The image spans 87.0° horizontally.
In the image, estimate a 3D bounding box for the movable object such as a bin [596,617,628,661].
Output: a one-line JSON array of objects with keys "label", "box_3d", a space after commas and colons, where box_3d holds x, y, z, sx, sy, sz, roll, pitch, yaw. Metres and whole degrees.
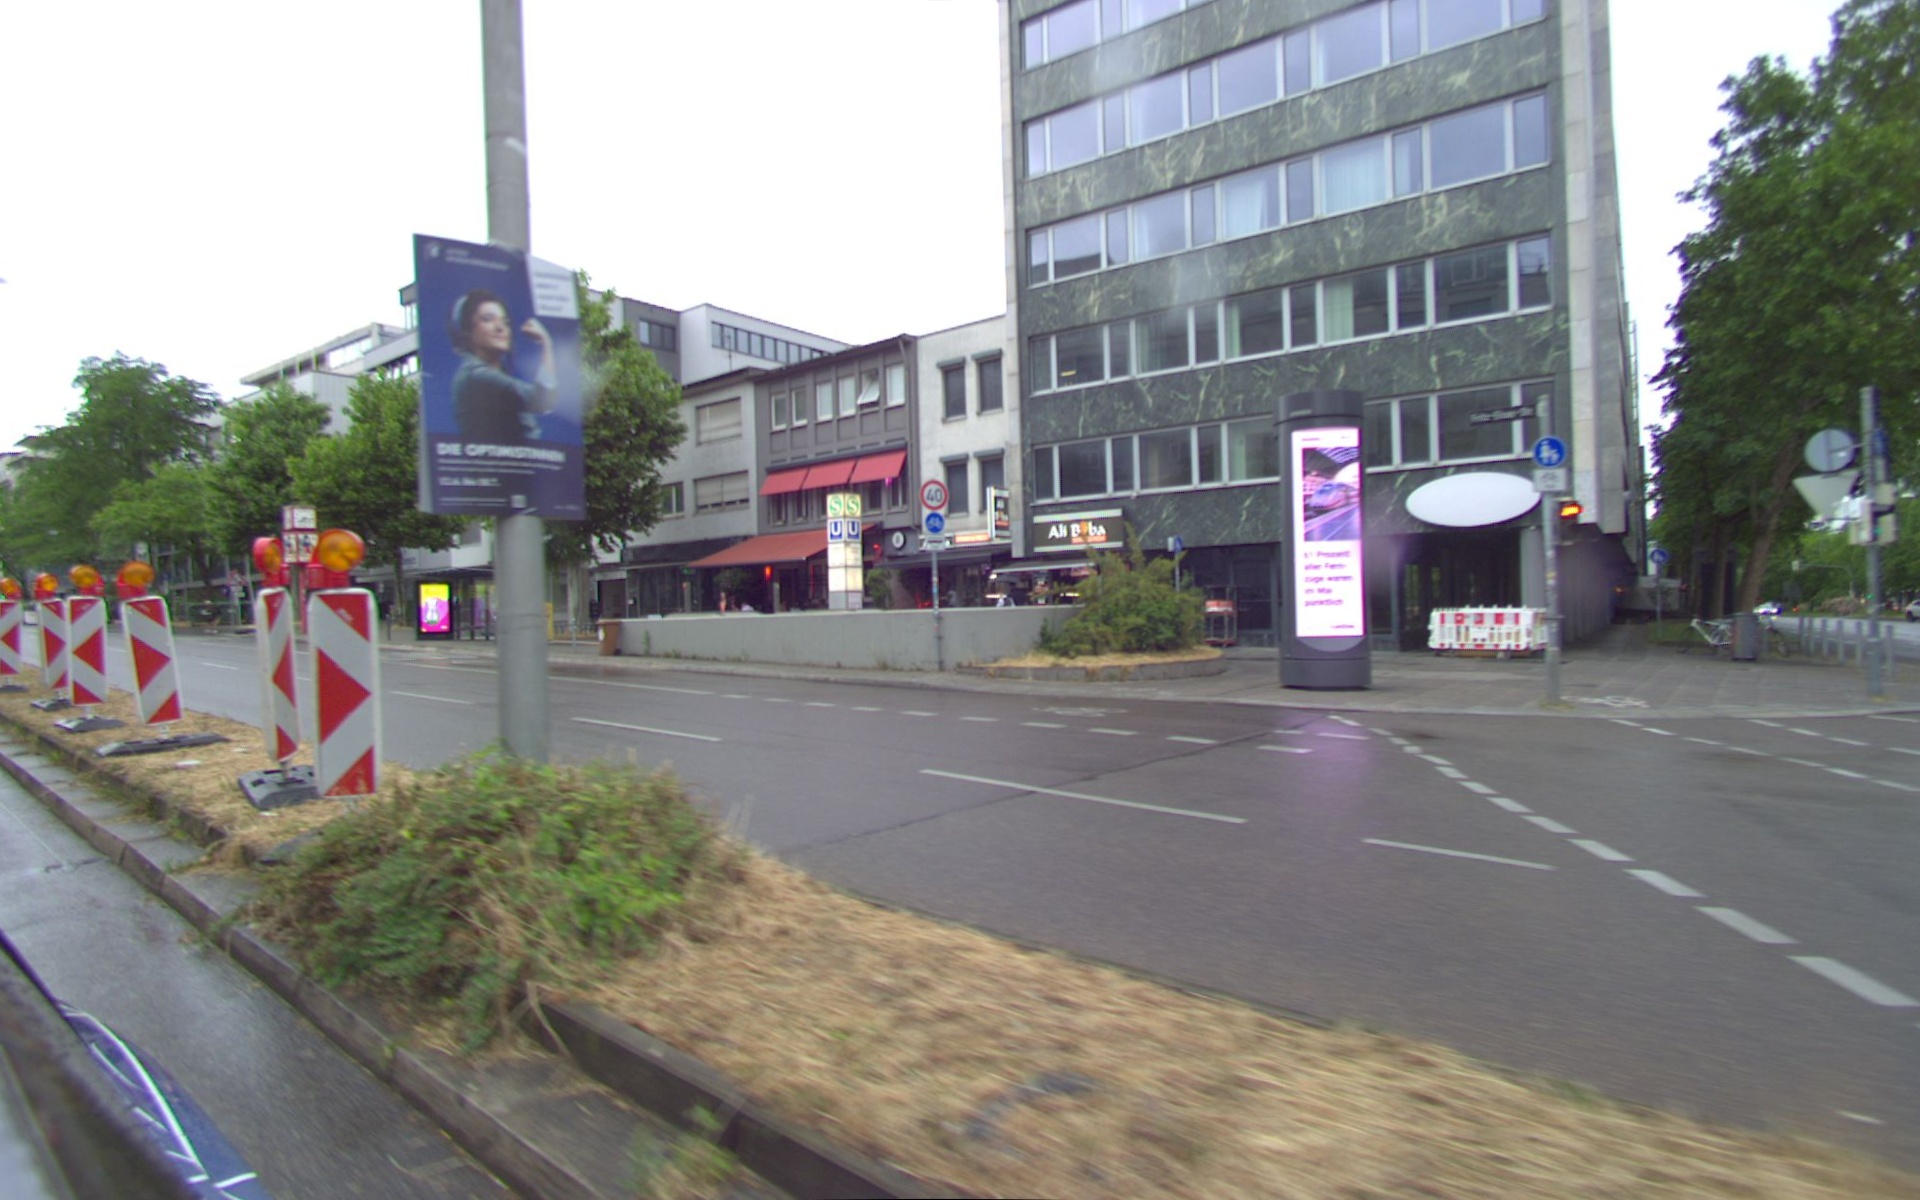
[{"label": "movable object such as a bin", "box_3d": [-8.934, 0.992, 25.952, 0.660, 1.109, 0.501, 0, 0, 39]}]

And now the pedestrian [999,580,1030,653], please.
[{"label": "pedestrian", "box_3d": [1.545, 0.456, 28.711, 0.588, 2.029, 0.730, 0, -1, -29]}]

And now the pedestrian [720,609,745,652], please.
[{"label": "pedestrian", "box_3d": [-8.279, 1.111, 36.824, 0.611, 1.540, 0.660, -1, -1, 44]}]

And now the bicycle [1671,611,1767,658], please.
[{"label": "bicycle", "box_3d": [17.938, 0.802, 23.956, 1.780, 1.060, 0.579, -1, -1, 37]}]

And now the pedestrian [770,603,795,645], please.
[{"label": "pedestrian", "box_3d": [-6.576, 0.882, 37.515, 0.611, 1.540, 0.660, -1, -1, 44]}]

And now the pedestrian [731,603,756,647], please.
[{"label": "pedestrian", "box_3d": [-7.717, 0.886, 36.077, 0.611, 1.540, 0.660, -1, -1, 44]}]

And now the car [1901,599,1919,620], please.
[{"label": "car", "box_3d": [68.904, 0.679, 71.816, 1.925, 1.499, 4.860, -1, -1, 29]}]

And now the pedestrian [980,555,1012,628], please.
[{"label": "pedestrian", "box_3d": [1.001, -0.235, 28.371, 0.588, 2.029, 0.730, 0, -1, -29]}]

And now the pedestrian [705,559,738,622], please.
[{"label": "pedestrian", "box_3d": [-7.102, -0.284, 30.141, 0.788, 1.837, 0.606, 0, 0, 26]}]

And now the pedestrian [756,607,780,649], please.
[{"label": "pedestrian", "box_3d": [-7.220, 1.036, 38.069, 0.611, 1.540, 0.660, -1, -1, 44]}]

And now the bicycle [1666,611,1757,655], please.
[{"label": "bicycle", "box_3d": [18.434, 0.798, 24.864, 1.780, 1.060, 0.579, -1, -1, 37]}]
